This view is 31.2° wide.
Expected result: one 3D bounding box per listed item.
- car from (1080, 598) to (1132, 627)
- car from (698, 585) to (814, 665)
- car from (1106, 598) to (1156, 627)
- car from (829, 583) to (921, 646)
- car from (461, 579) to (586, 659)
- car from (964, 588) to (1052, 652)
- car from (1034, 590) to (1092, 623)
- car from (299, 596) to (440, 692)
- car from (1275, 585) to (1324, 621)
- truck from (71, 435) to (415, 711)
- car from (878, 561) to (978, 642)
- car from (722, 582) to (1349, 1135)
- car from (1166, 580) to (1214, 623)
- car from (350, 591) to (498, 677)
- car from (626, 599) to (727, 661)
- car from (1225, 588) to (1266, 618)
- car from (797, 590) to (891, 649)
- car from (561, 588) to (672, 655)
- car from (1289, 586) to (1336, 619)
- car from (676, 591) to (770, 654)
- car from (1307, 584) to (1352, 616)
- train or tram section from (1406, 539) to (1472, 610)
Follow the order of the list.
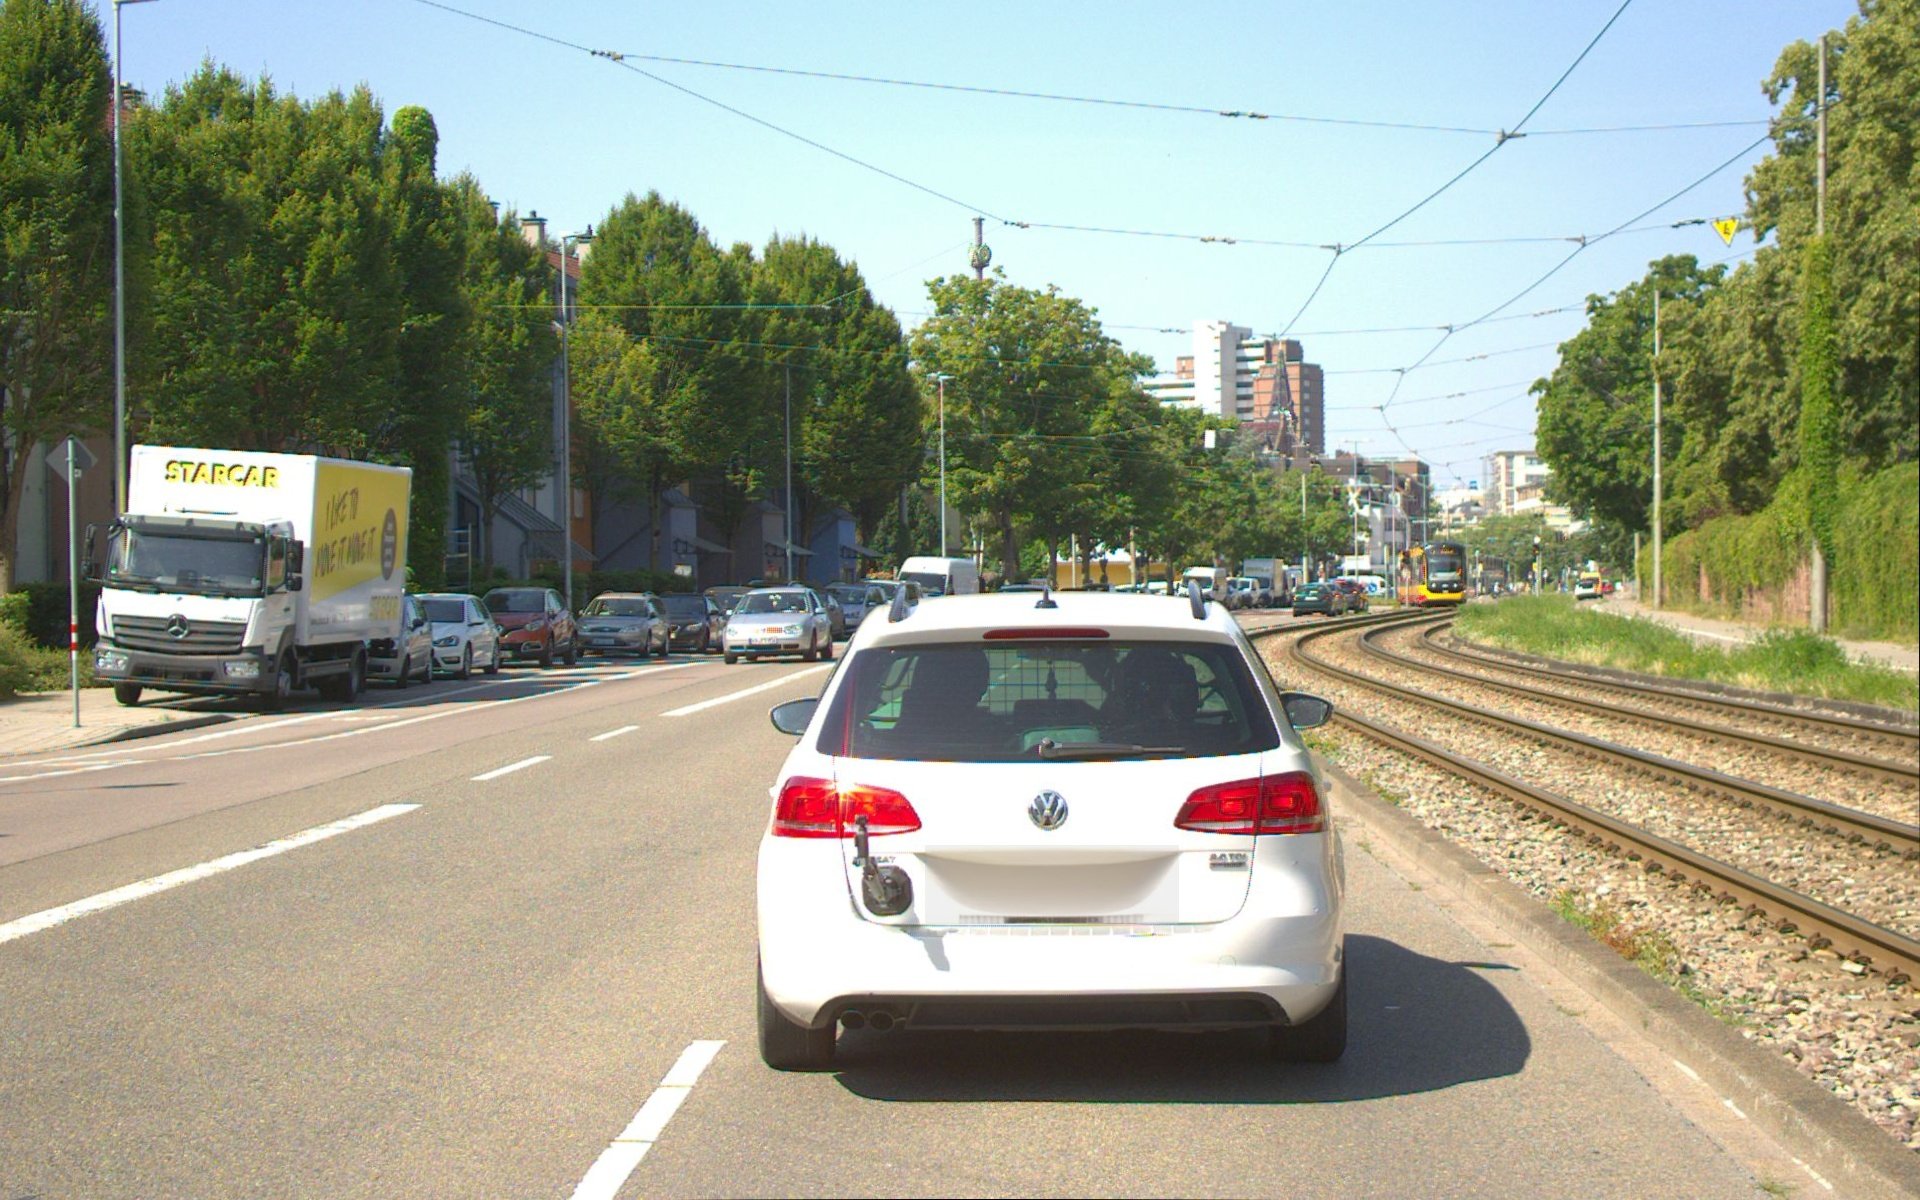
[{"bbox_3d":[6.992,0.610,164.317,1.701,1.347,3.997,-1,0,14],"label":"car"},{"bbox_3d":[-3.863,0.457,65.740,1.659,1.416,4.309,-3,0,3],"label":"car"},{"bbox_3d":[8.435,0.606,169.433,1.701,1.347,3.997,-1,0,14],"label":"car"},{"bbox_3d":[-2.783,0.468,113.659,1.920,1.942,5.352,2,0,10],"label":"car"},{"bbox_3d":[-8.739,0.358,69.108,1.731,1.546,4.318,1,0,3],"label":"car"},{"bbox_3d":[1.233,0.488,86.622,1.801,1.502,3.999,0,1,7],"label":"car"},{"bbox_3d":[4.561,0.268,151.657,1.701,1.412,3.997,-1,0,14],"label":"car"},{"bbox_3d":[-9.592,0.697,56.065,1.609,1.479,3.636,1,0,1],"label":"car"},{"bbox_3d":[14.616,0.133,147.925,1.801,1.502,3.998,0,1,10],"label":"car"},{"bbox_3d":[-9.948,-0.376,48.723,2.667,3.518,8.590,1,0,3],"label":"truck"},{"bbox_3d":[-1.095,0.066,121.885,1.995,2.705,7.153,2,0,12],"label":"car"},{"bbox_3d":[0.211,0.692,11.575,1.691,1.446,4.459,0,1,0],"label":"car"},{"bbox_3d":[13.248,0.098,197.977,1.881,2.407,5.113,-1,0,14],"label":"car"},{"bbox_3d":[-9.431,0.575,60.772,1.757,1.424,4.281,1,0,3],"label":"car"},{"bbox_3d":[-7.071,0.738,86.179,1.723,1.469,4.714,1,0,5],"label":"car"},{"bbox_3d":[18.064,0.172,217.699,1.827,1.861,4.721,-1,0,14],"label":"car"},{"bbox_3d":[-3.620,0.599,108.068,1.801,1.719,4.907,2,0,11],"label":"car"},{"bbox_3d":[-7.932,0.490,79.829,1.781,1.478,4.856,1,0,4],"label":"car"},{"bbox_3d":[15.838,0.101,154.500,1.801,1.455,3.998,0,1,10],"label":"car"},{"bbox_3d":[-6.315,0.596,92.114,1.717,1.619,4.311,1,0,7],"label":"car"},{"bbox_3d":[17.339,-0.003,161.105,1.801,1.455,3.998,-1,0,10],"label":"car"},{"bbox_3d":[26.513,-1.368,189.777,2.513,3.734,13.303,-1,0,12],"label":"train or tram section"}]
